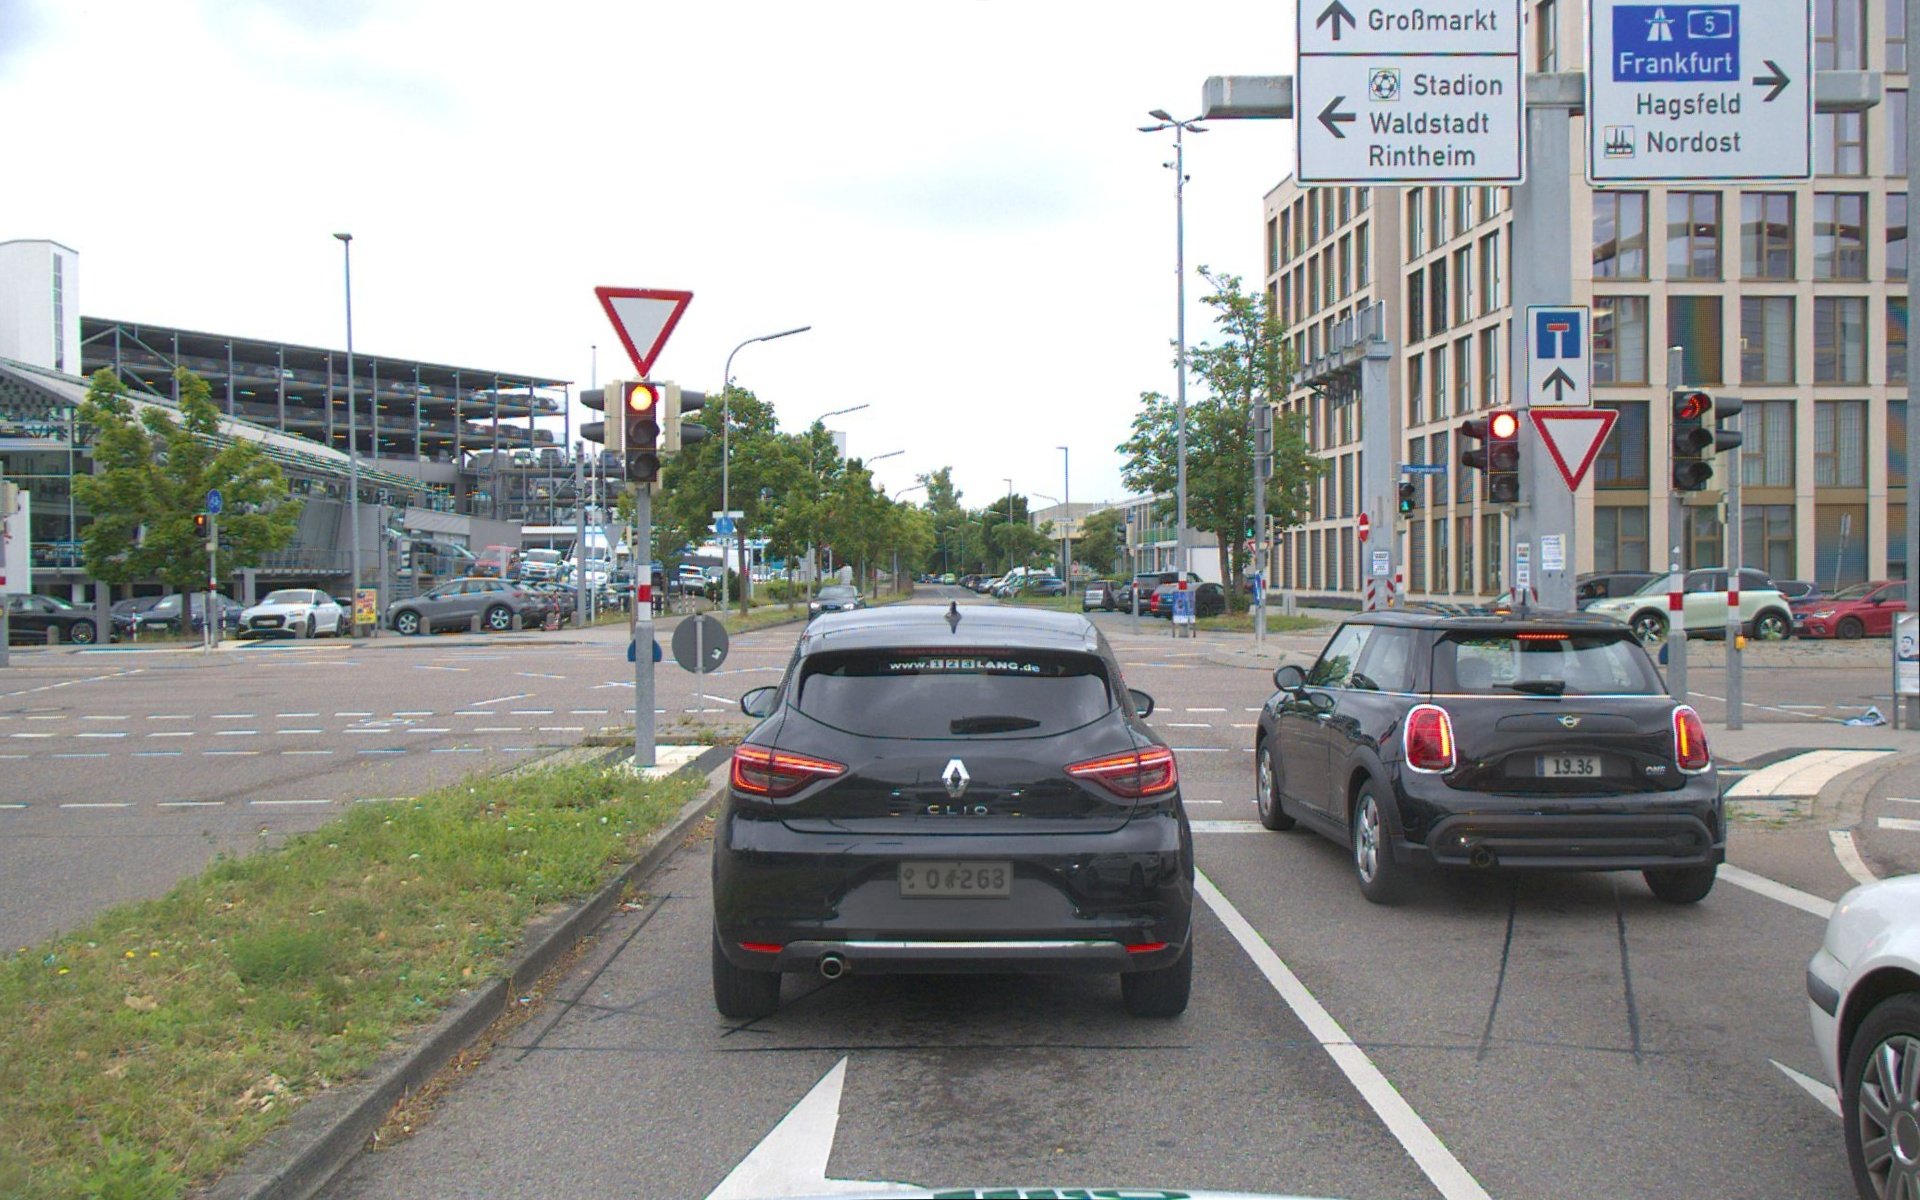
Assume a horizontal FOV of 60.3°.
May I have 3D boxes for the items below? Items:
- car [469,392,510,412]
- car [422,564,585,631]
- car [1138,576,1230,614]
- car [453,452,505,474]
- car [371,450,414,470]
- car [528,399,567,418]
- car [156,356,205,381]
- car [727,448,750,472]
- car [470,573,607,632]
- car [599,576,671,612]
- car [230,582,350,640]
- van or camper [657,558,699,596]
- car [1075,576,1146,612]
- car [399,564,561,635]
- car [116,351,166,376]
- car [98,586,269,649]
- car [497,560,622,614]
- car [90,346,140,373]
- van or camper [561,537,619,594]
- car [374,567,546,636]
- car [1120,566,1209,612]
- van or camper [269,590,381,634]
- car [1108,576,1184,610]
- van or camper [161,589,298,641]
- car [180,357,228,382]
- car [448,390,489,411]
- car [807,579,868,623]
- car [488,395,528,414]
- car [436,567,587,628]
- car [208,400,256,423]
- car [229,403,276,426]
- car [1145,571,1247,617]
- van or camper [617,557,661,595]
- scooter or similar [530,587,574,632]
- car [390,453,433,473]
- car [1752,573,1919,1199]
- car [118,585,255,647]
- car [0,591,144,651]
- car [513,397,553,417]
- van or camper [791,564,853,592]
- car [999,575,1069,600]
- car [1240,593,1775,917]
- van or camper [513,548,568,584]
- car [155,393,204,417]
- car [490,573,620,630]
[{"bbox_3d":[-49.438,-20.810,173.707,3.914,1.696,1.996,1,1,31],"label":"car"},{"bbox_3d":[-15.478,-0.083,56.309,4.925,2.049,2.263,-2,0,-5],"label":"car"},{"bbox_3d":[9.669,-0.205,71.179,1.857,1.578,4.105,-1,0,44],"label":"car"},{"bbox_3d":[-50.641,-14.405,174.134,5.212,1.979,2.208,1,1,28],"label":"car"},{"bbox_3d":[-55.728,-13.761,162.381,3.914,1.696,1.996,1,1,31],"label":"car"},{"bbox_3d":[-45.224,-20.922,181.177,3.914,1.696,1.996,1,1,31],"label":"car"},{"bbox_3d":[-67.151,-19.940,142.453,3.914,1.696,1.996,1,1,31],"label":"car"},{"bbox_3d":[-21.183,-13.367,158.554,1.955,1.915,3.996,-1,0,-5],"label":"car"},{"bbox_3d":[-16.315,0.078,64.233,4.798,2.049,1.998,-2,0,-6],"label":"car"},{"bbox_3d":[-19.362,-0.349,98.614,3.908,2.049,1.999,1,0,-4],"label":"car"},{"bbox_3d":[-18.591,0.342,46.089,1.832,1.512,4.226,-1,-1,-4],"label":"car"},{"bbox_3d":[-16.131,-1.307,94.620,1.954,2.049,3.996,1,0,-4],"label":"van or camper"},{"bbox_3d":[7.669,-0.297,84.065,3.405,1.762,1.739,1,-1,-43],"label":"car"},{"bbox_3d":[-15.415,-0.032,53.302,4.610,2.049,1.998,-2,0,-5],"label":"car"},{"bbox_3d":[-69.294,-19.988,139.942,3.914,1.696,1.996,1,1,31],"label":"car"},{"bbox_3d":[-25.796,0.558,55.071,4.706,1.973,1.999,-1,1,-4],"label":"car"},{"bbox_3d":[-16.858,-0.526,69.758,4.798,2.049,1.998,-2,0,-6],"label":"car"},{"bbox_3d":[-70.371,-20.017,137.750,3.914,1.696,1.996,1,1,31],"label":"car"},{"bbox_3d":[-21.072,-1.949,94.365,2.486,3.079,4.839,1,0,-4],"label":"van or camper"},{"bbox_3d":[-15.275,0.039,50.734,4.680,1.895,1.998,-2,0,-6],"label":"car"},{"bbox_3d":[9.212,-0.490,74.374,1.963,2.000,4.221,-1,0,41],"label":"car"},{"bbox_3d":[-26.399,0.484,68.851,3.909,1.741,1.845,1,0,-5],"label":"van or camper"},{"bbox_3d":[8.779,-0.317,77.769,1.667,1.537,3.794,-1,0,42],"label":"car"},{"bbox_3d":[-25.590,0.519,58.014,3.909,1.707,1.998,1,0,-5],"label":"van or camper"},{"bbox_3d":[-66.140,-20.131,144.648,3.914,1.696,1.996,1,1,31],"label":"car"},{"bbox_3d":[-50.916,-20.681,171.478,3.914,1.696,1.996,1,1,31],"label":"car"},{"bbox_3d":[-4.603,-0.001,62.501,1.938,1.578,4.614,0,1,0],"label":"car"},{"bbox_3d":[-48.083,-20.774,175.836,3.914,1.696,1.996,1,1,31],"label":"car"},{"bbox_3d":[-15.930,-0.091,58.930,4.853,1.909,2.051,-2,0,-7],"label":"car"},{"bbox_3d":[-64.526,-16.712,146.584,3.914,1.696,1.996,1,1,31],"label":"car"},{"bbox_3d":[-63.548,-16.691,148.588,3.914,1.696,1.996,1,1,31],"label":"car"},{"bbox_3d":[9.567,-0.234,66.790,4.096,1.799,1.861,0,0,-41],"label":"car"},{"bbox_3d":[-18.285,-1.346,94.396,1.954,2.049,3.996,1,0,-4],"label":"van or camper"},{"bbox_3d":[-11.856,0.266,48.117,0.545,1.240,1.561,2,1,13],"label":"scooter or similar"},{"bbox_3d":[-54.658,-13.656,164.830,3.914,1.696,1.996,1,1,31],"label":"car"},{"bbox_3d":[3.038,0.702,2.413,1.795,1.504,4.004,1,0,-1],"label":"car"},{"bbox_3d":[-21.342,0.473,45.857,2.023,1.512,4.510,-2,-2,-6],"label":"car"},{"bbox_3d":[-25.319,0.601,45.607,4.646,1.512,1.891,-1,-2,-4],"label":"car"},{"bbox_3d":[-46.291,-20.900,179.217,3.914,1.696,1.996,1,1,31],"label":"car"},{"bbox_3d":[-12.657,-1.976,151.628,5.486,2.413,1.999,1,0,-2],"label":"van or camper"},{"bbox_3d":[5.537,-0.900,123.813,5.070,1.750,2.142,1,0,-3],"label":"car"},{"bbox_3d":[2.795,0.713,9.318,1.749,1.440,3.642,1,0,-1],"label":"car"},{"bbox_3d":[-21.025,-1.693,83.005,1.954,1.680,3.996,1,0,-4],"label":"van or camper"},{"bbox_3d":[-67.170,-16.775,142.357,3.914,1.696,1.996,1,1,31],"label":"car"},{"bbox_3d":[-16.355,0.058,66.953,4.798,2.049,1.998,-2,0,-6],"label":"car"}]
